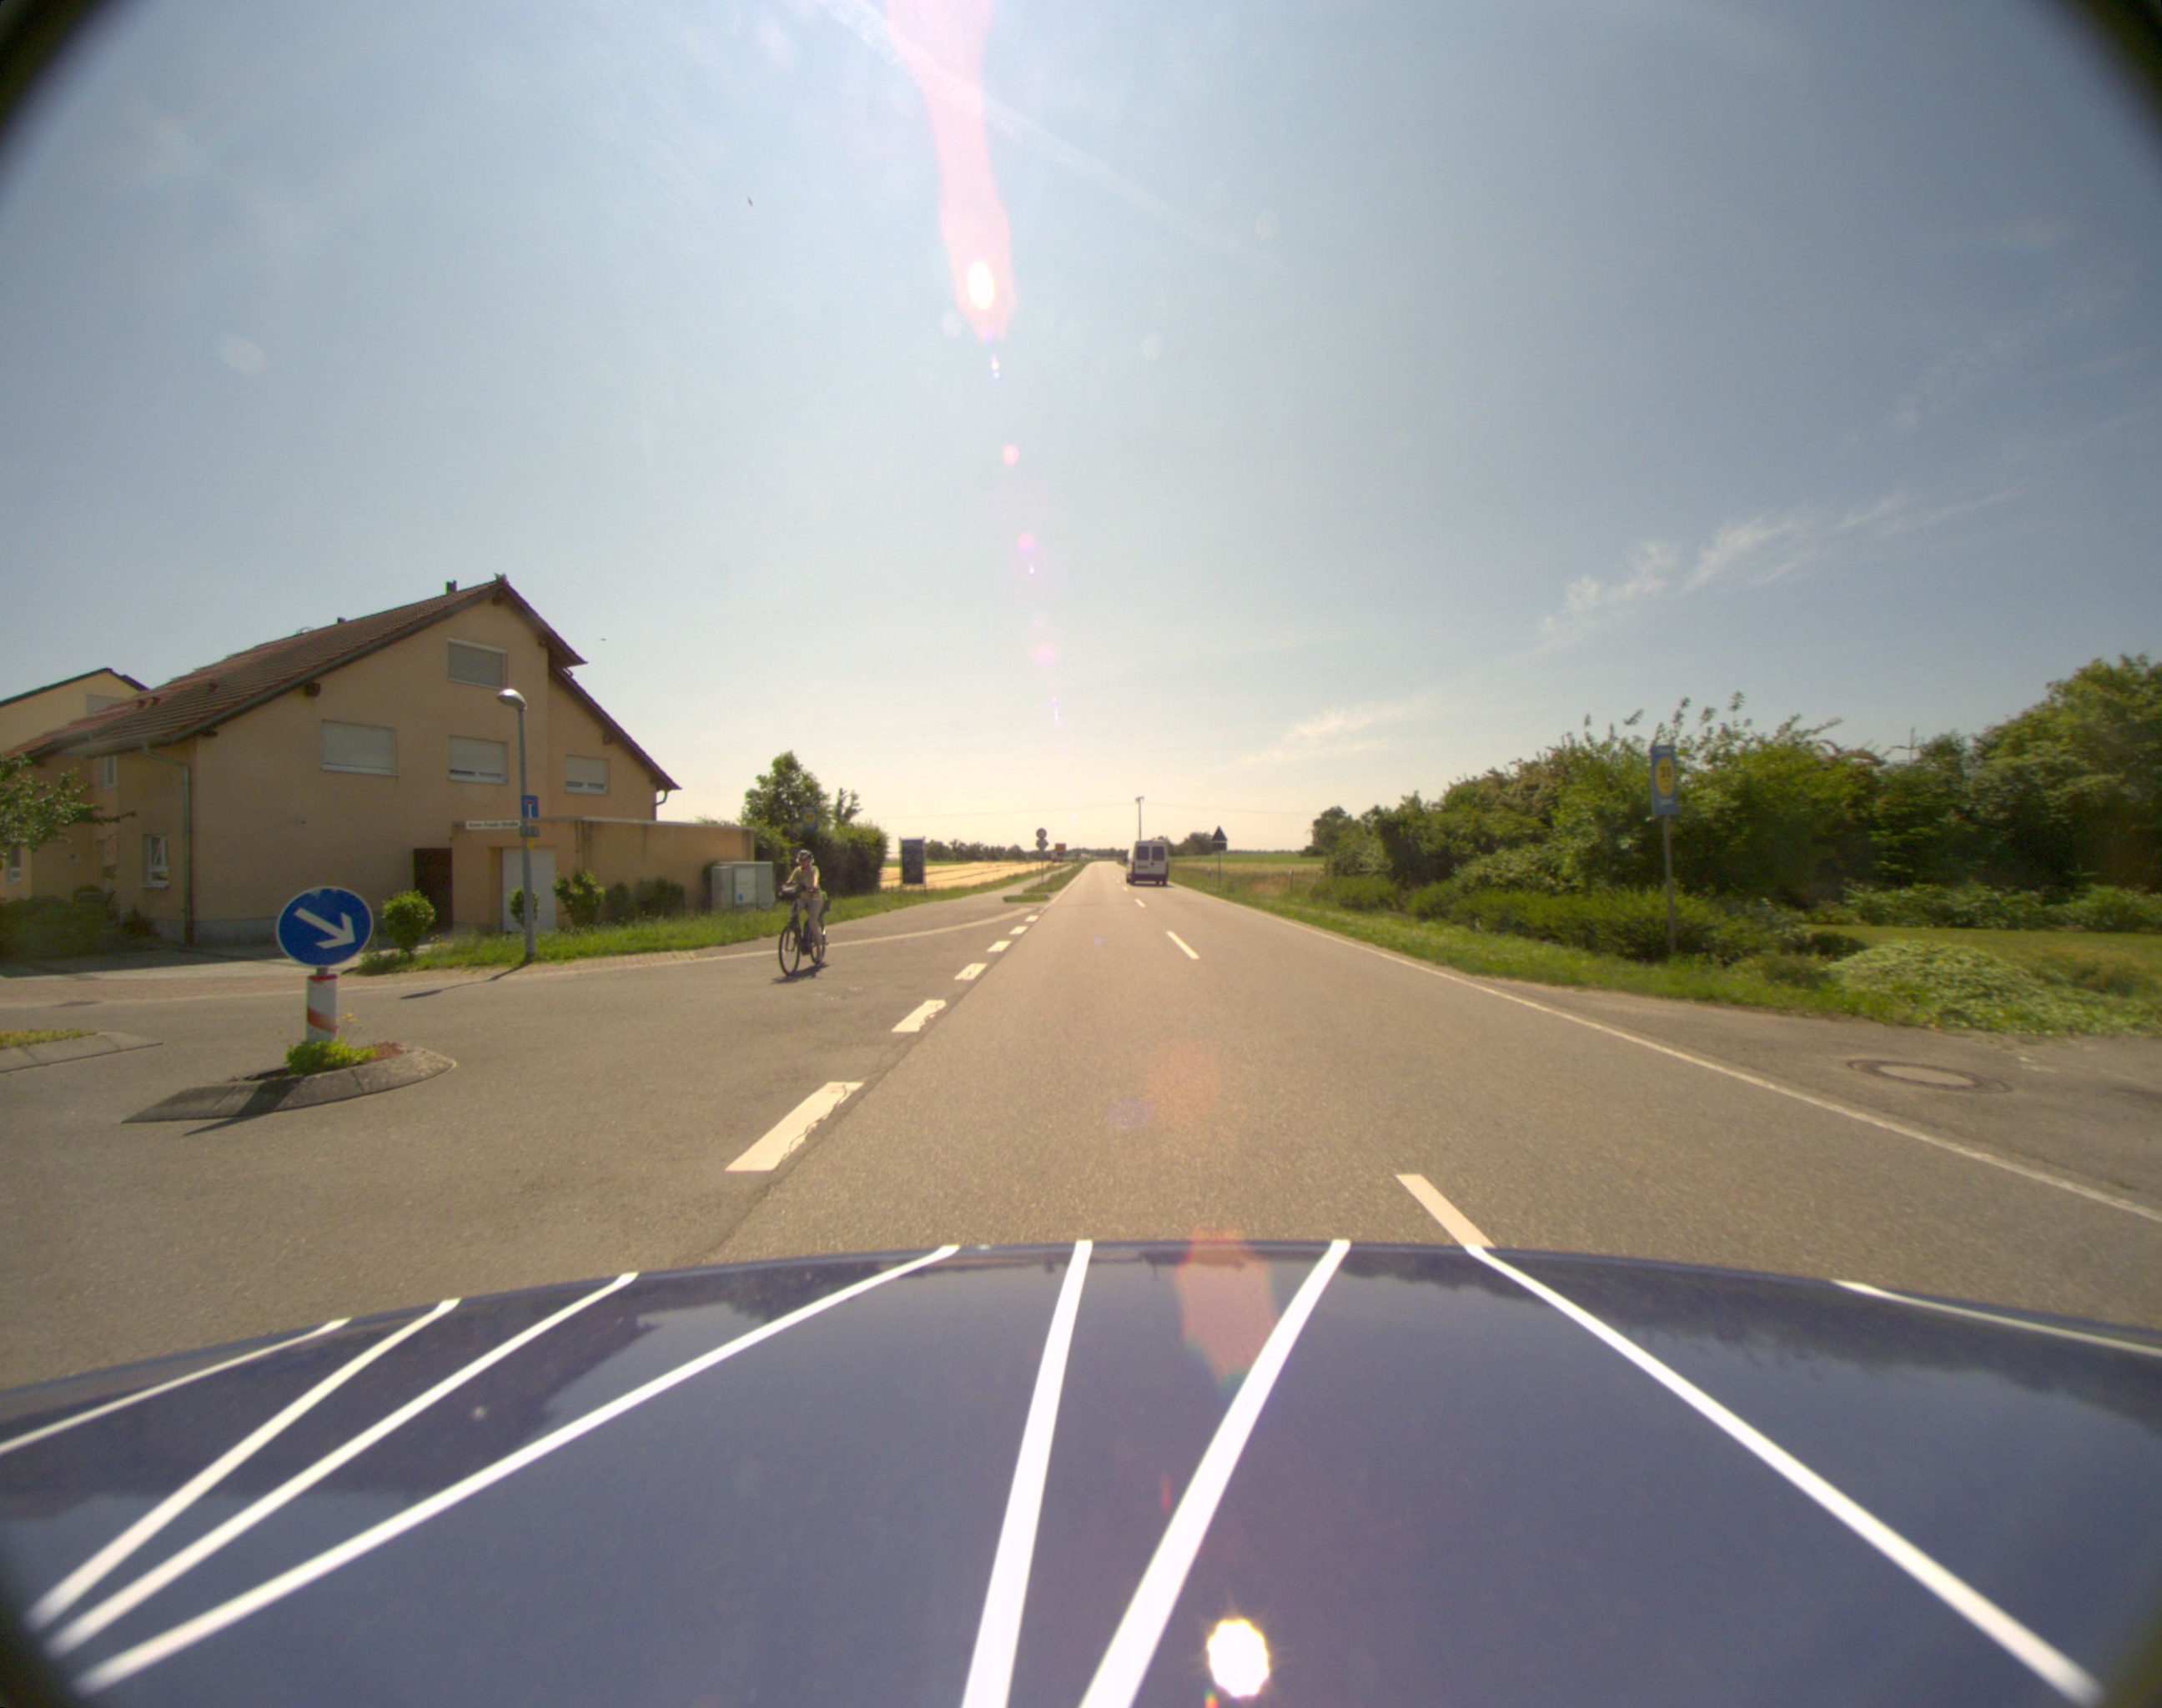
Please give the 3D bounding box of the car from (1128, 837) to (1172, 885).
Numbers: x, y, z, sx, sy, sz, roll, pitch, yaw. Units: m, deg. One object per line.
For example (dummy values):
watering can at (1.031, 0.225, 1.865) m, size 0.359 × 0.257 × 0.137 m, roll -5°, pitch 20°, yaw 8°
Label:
car at (3.805, 0.402, 43.007) m, size 2.082 × 2.527 × 5.874 m, roll 1°, pitch 0°, yaw 1°

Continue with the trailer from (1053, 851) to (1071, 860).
trailer at (-6.227, 0.402, 247.778) m, size 5.283 × 2.936 × 2.003 m, roll 0°, pitch 2°, yaw 21°

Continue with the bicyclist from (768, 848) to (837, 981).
bicyclist at (-4.122, 0.864, 11.298) m, size 0.646 × 1.879 × 0.861 m, roll -1°, pitch 1°, yaw 1°

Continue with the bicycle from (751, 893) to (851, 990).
bicycle at (-4.110, 1.238, 11.363) m, size 0.612 × 1.152 × 2.274 m, roll -1°, pitch 1°, yaw 1°
